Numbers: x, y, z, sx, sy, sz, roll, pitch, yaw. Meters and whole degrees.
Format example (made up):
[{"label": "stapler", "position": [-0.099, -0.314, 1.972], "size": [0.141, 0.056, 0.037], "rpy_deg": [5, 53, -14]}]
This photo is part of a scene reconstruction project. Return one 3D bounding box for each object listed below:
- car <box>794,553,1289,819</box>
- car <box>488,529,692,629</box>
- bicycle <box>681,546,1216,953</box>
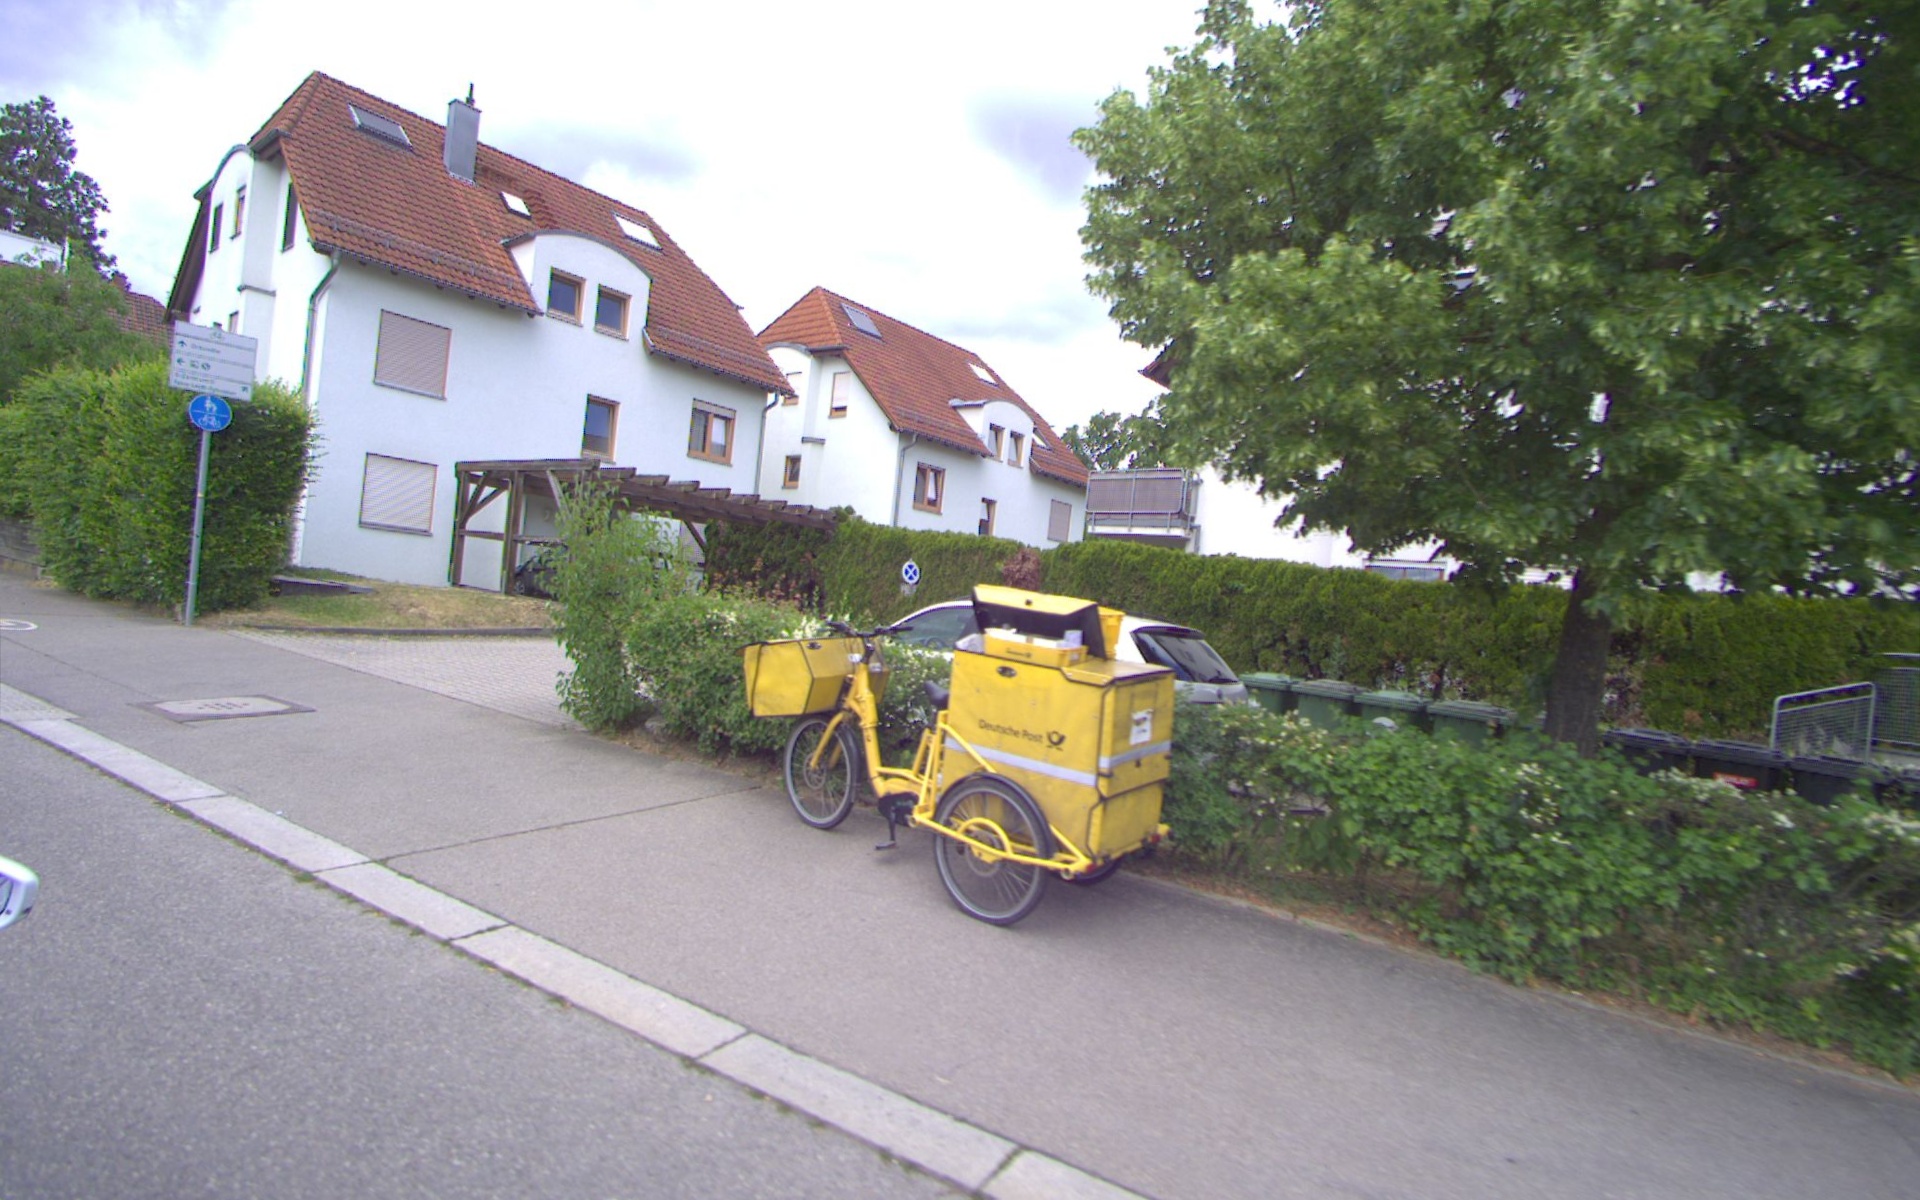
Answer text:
[{"label": "car", "position": [0.520, 0.594, 8.778], "size": [4.004, 1.523, 1.667], "rpy_deg": [8, 1, 43]}, {"label": "car", "position": [-7.024, -0.412, 18.959], "size": [3.939, 1.468, 1.666], "rpy_deg": [6, 1, 37]}, {"label": "bicycle", "position": [-0.187, 0.589, 5.322], "size": [2.739, 1.532, 0.890], "rpy_deg": [7, 5, 35]}]
